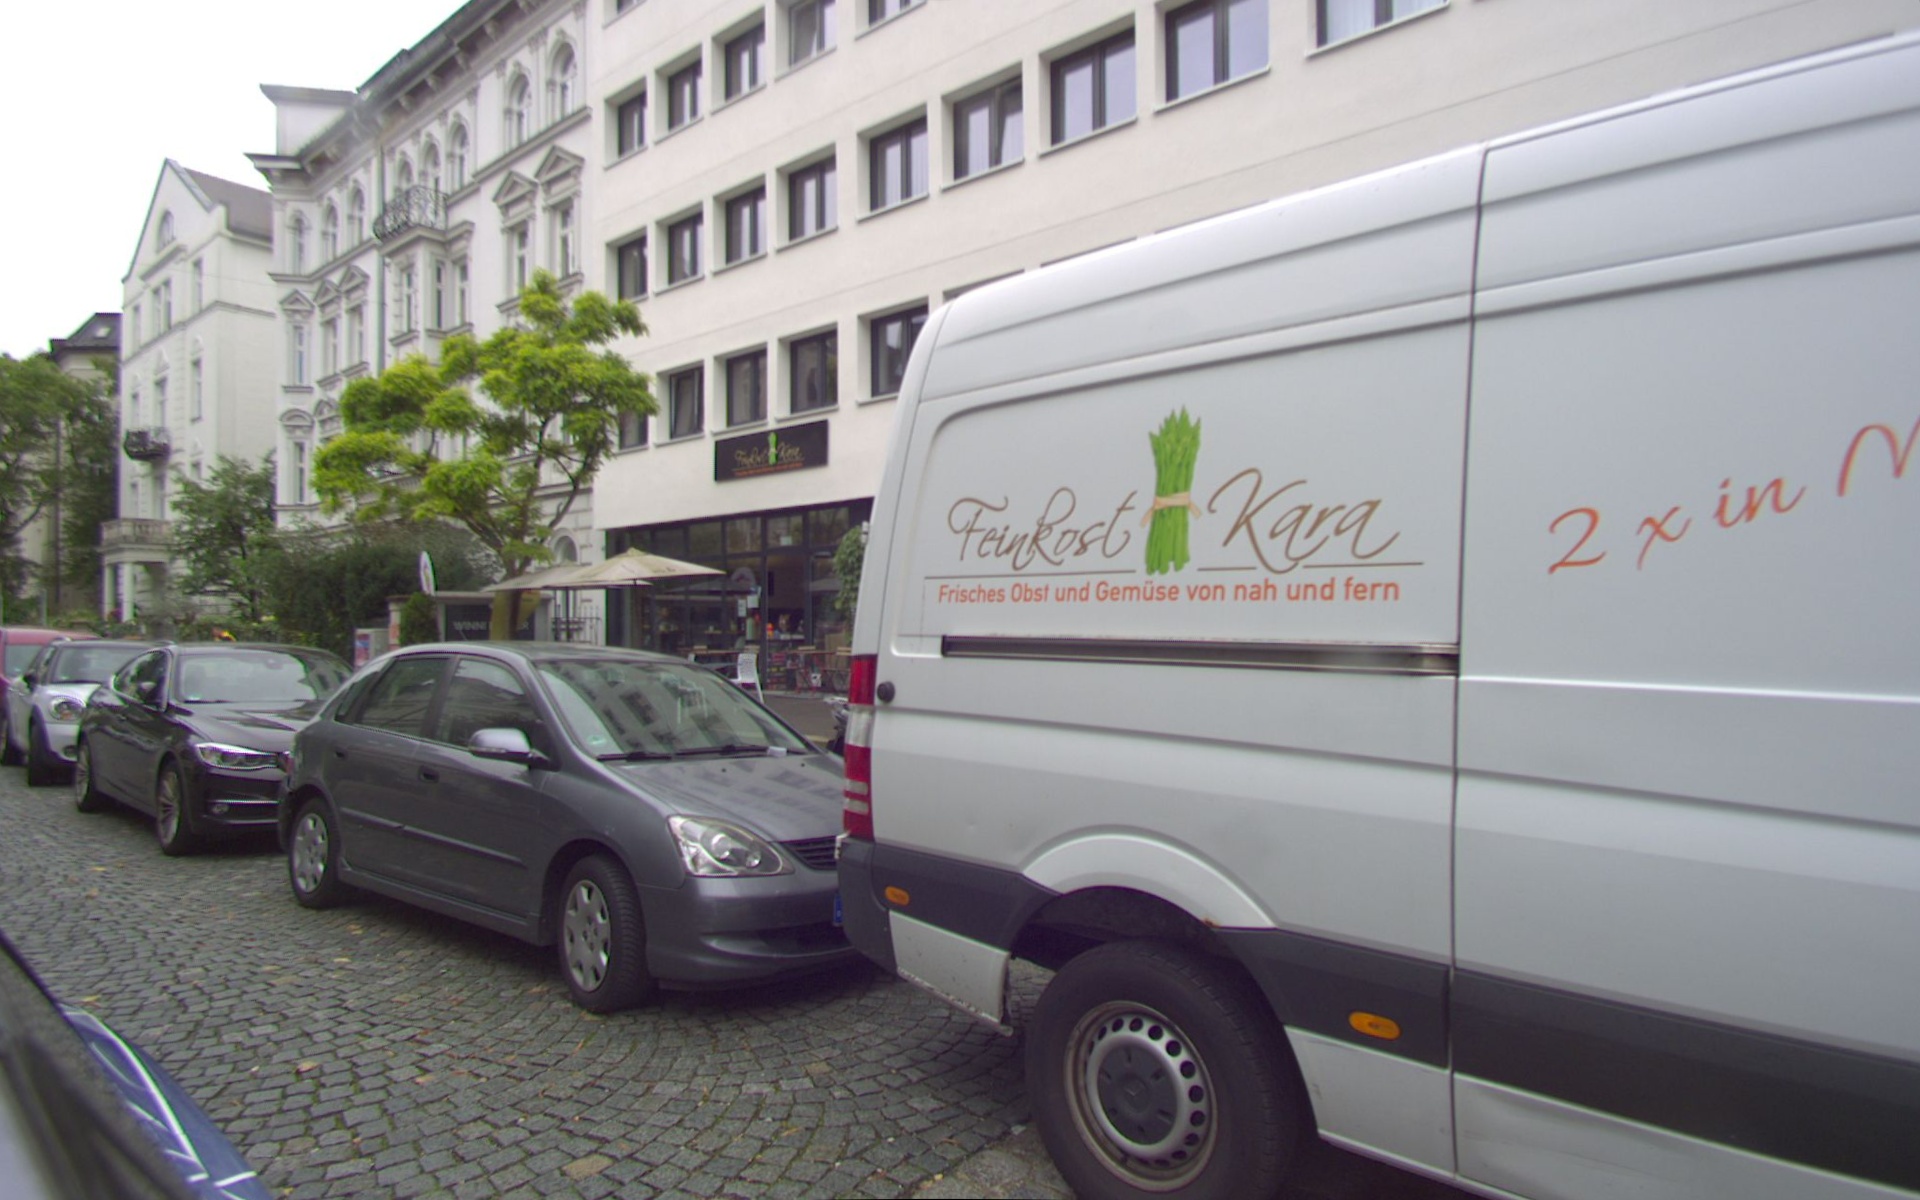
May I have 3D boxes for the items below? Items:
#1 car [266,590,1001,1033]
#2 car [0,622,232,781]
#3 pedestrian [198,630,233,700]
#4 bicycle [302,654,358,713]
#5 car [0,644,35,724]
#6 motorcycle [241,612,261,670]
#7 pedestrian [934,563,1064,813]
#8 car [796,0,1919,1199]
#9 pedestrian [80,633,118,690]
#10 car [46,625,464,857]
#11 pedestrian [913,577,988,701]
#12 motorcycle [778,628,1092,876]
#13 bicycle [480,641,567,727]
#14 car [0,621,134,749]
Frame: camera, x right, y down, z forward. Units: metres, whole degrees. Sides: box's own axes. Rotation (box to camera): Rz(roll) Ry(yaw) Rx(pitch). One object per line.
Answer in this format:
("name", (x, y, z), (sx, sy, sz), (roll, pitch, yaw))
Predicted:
("car", (-1.894, 0.761, 5.273), (3.974, 1.494, 1.646), (-2, -1, 36))
("car", (-9.964, 1.049, 11.779), (3.776, 1.515, 1.675), (-2, -1, 42))
("pedestrian", (-18.100, 1.570, 24.602), (0.569, 1.659, 0.822), (2, -3, -45))
("bicycle", (-12.058, 1.600, 19.357), (1.682, 1.087, 0.255), (-3, -2, 35))
("car", (-18.958, 1.569, 19.060), (3.809, 1.404, 1.616), (-2, -1, 37))
("motorcycle", (-15.117, 0.863, 21.569), (0.326, 1.189, 1.629), (0, -1, -36))
("pedestrian", (0.312, 0.664, 7.996), (0.811, 1.854, 0.609), (-2, -2, 32))
("car", (2.304, 0.142, 2.177), (5.789, 2.594, 1.957), (-2, -3, 40))
("pedestrian", (-25.605, 1.825, 30.114), (0.655, 1.640, 0.671), (-1, -1, -20))
("car", (-6.106, 1.008, 8.560), (4.468, 1.476, 1.708), (-2, -4, 39))
("pedestrian", (-0.133, 0.541, 14.163), (0.783, 1.673, 0.549), (-4, -1, 41))
("motorcycle", (-0.218, 0.888, 6.588), (2.055, 1.379, 0.668), (-2, -1, 37))
("bicycle", (-6.405, 1.196, 14.792), (1.910, 1.184, 0.357), (-2, -1, 41))
("car", (-14.180, 1.217, 15.375), (3.893, 1.736, 1.701), (-2, -3, 38))
